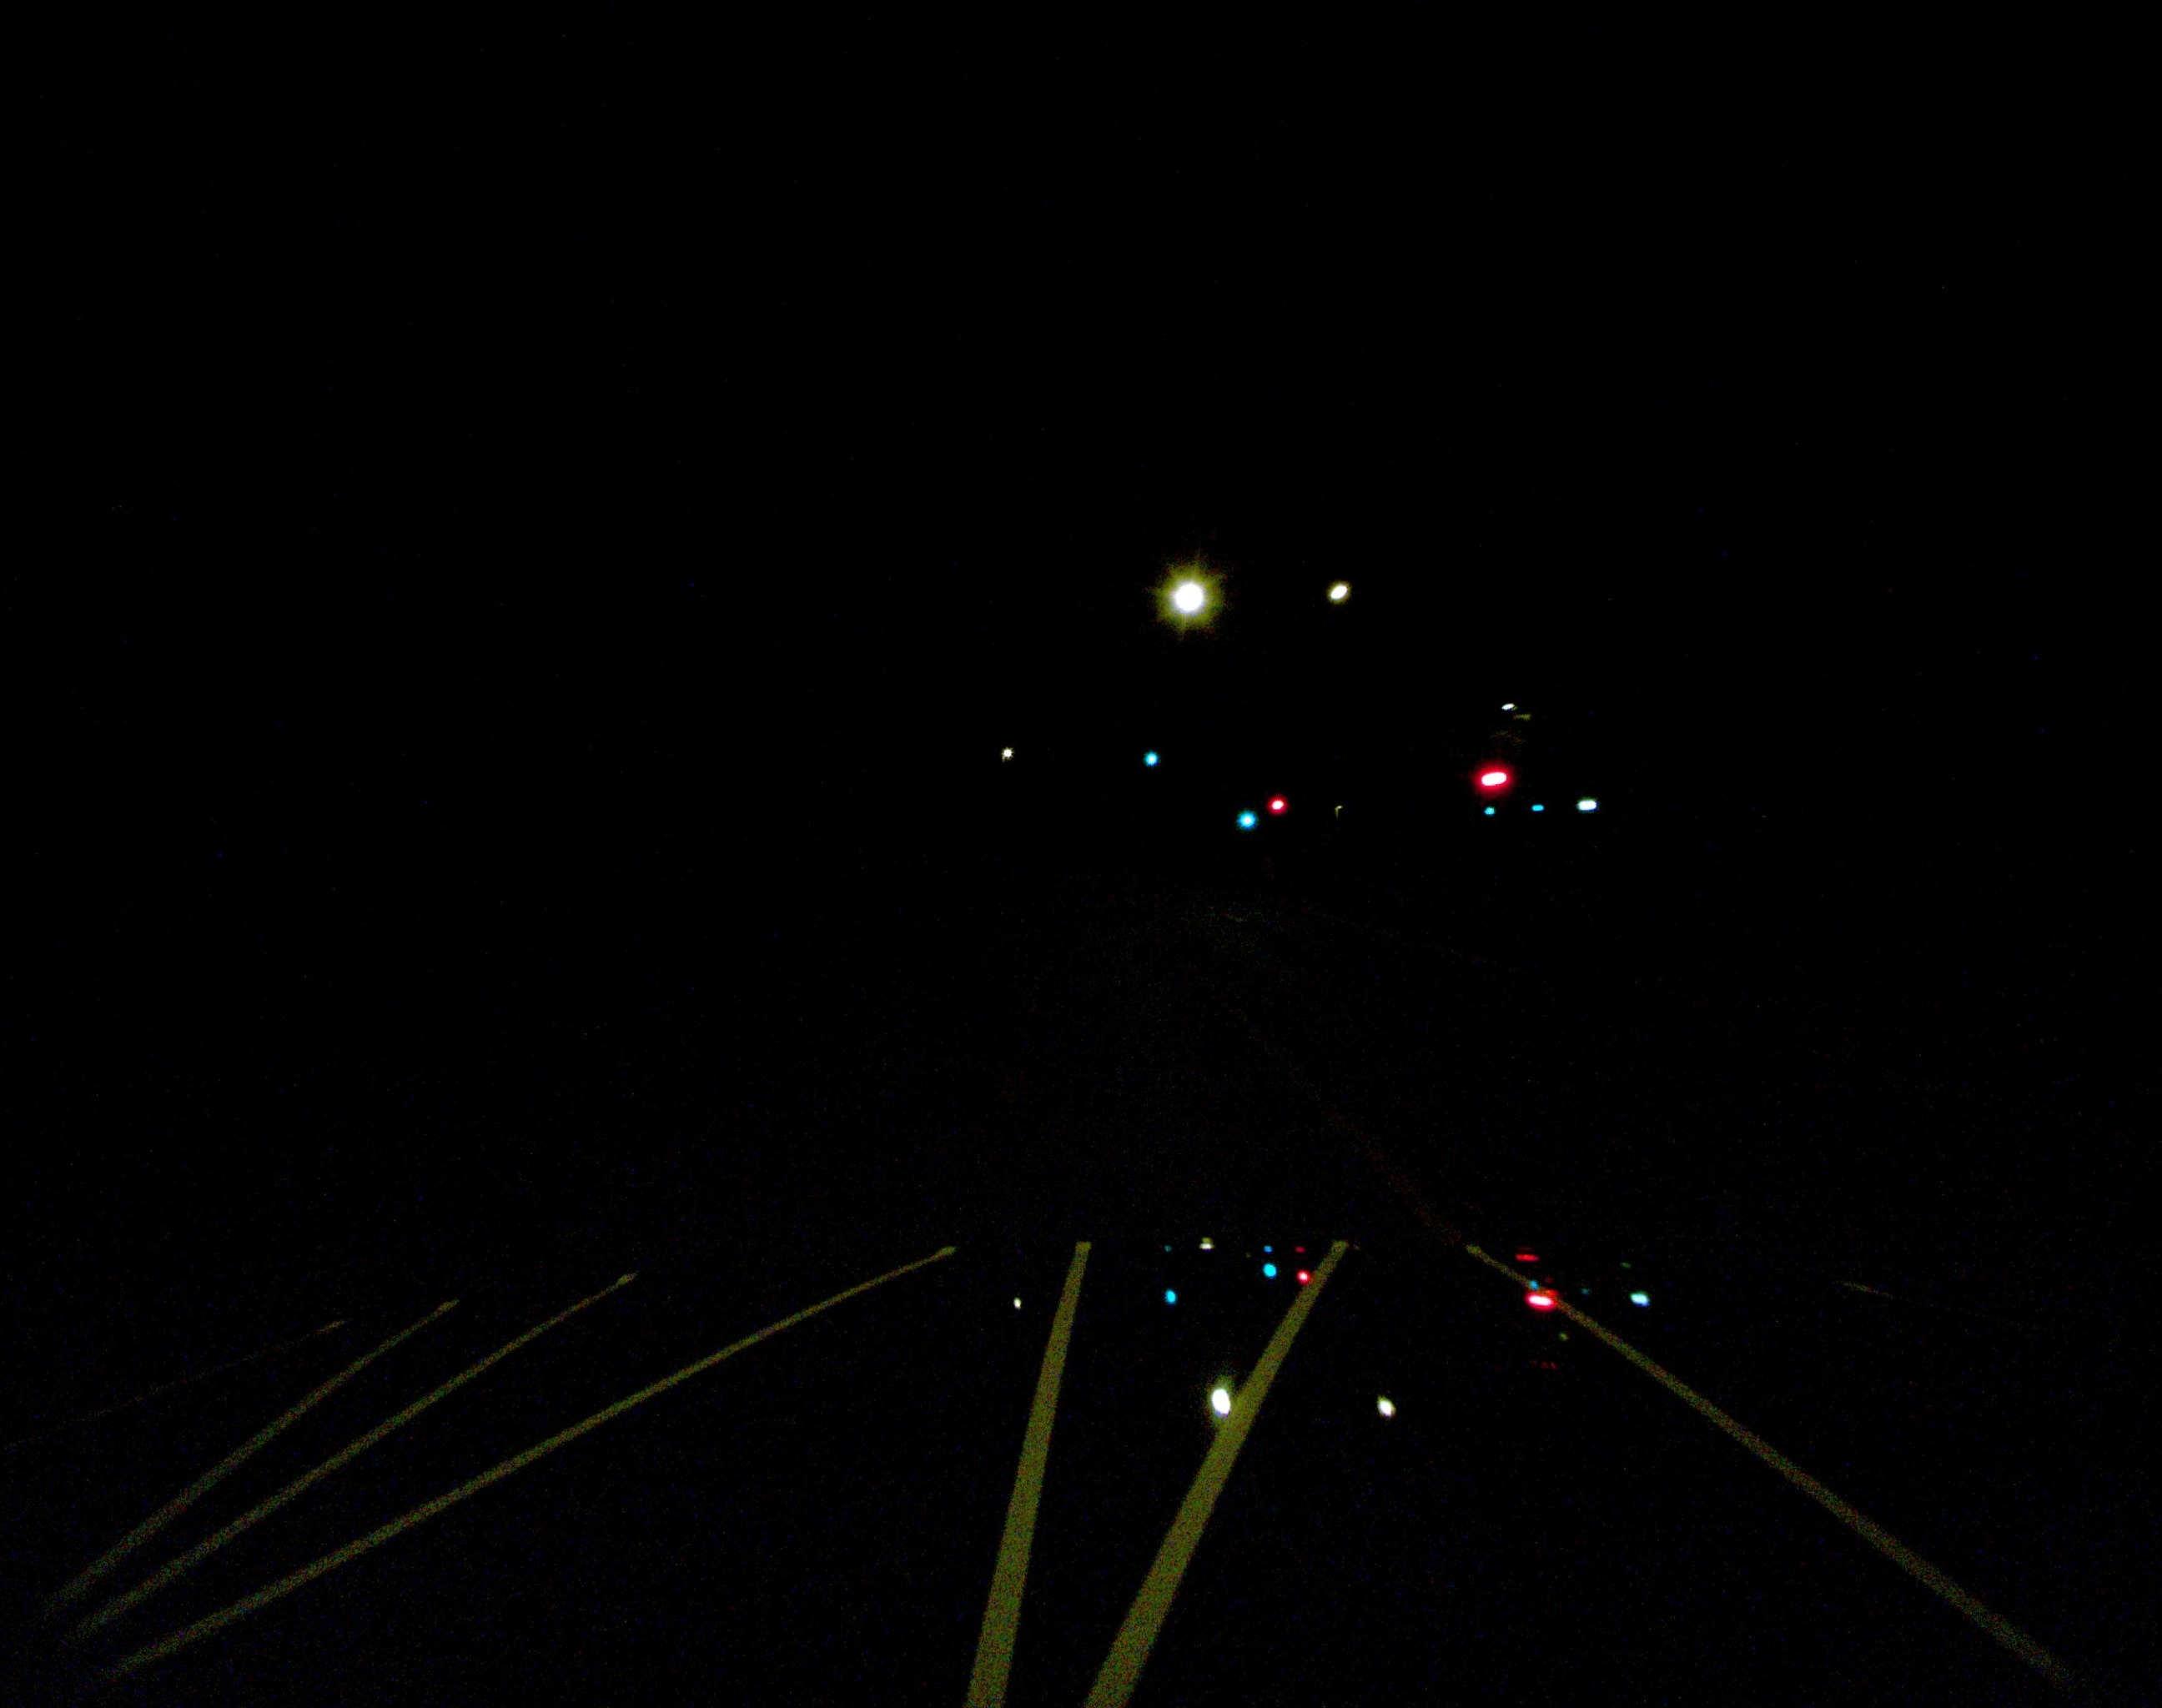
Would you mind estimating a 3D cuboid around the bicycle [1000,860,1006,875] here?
[{"bbox_3d":[-5.954,1.016,57.997,0.296,0.977,1.942,-3,4,-9],"label":"bicycle"}]
